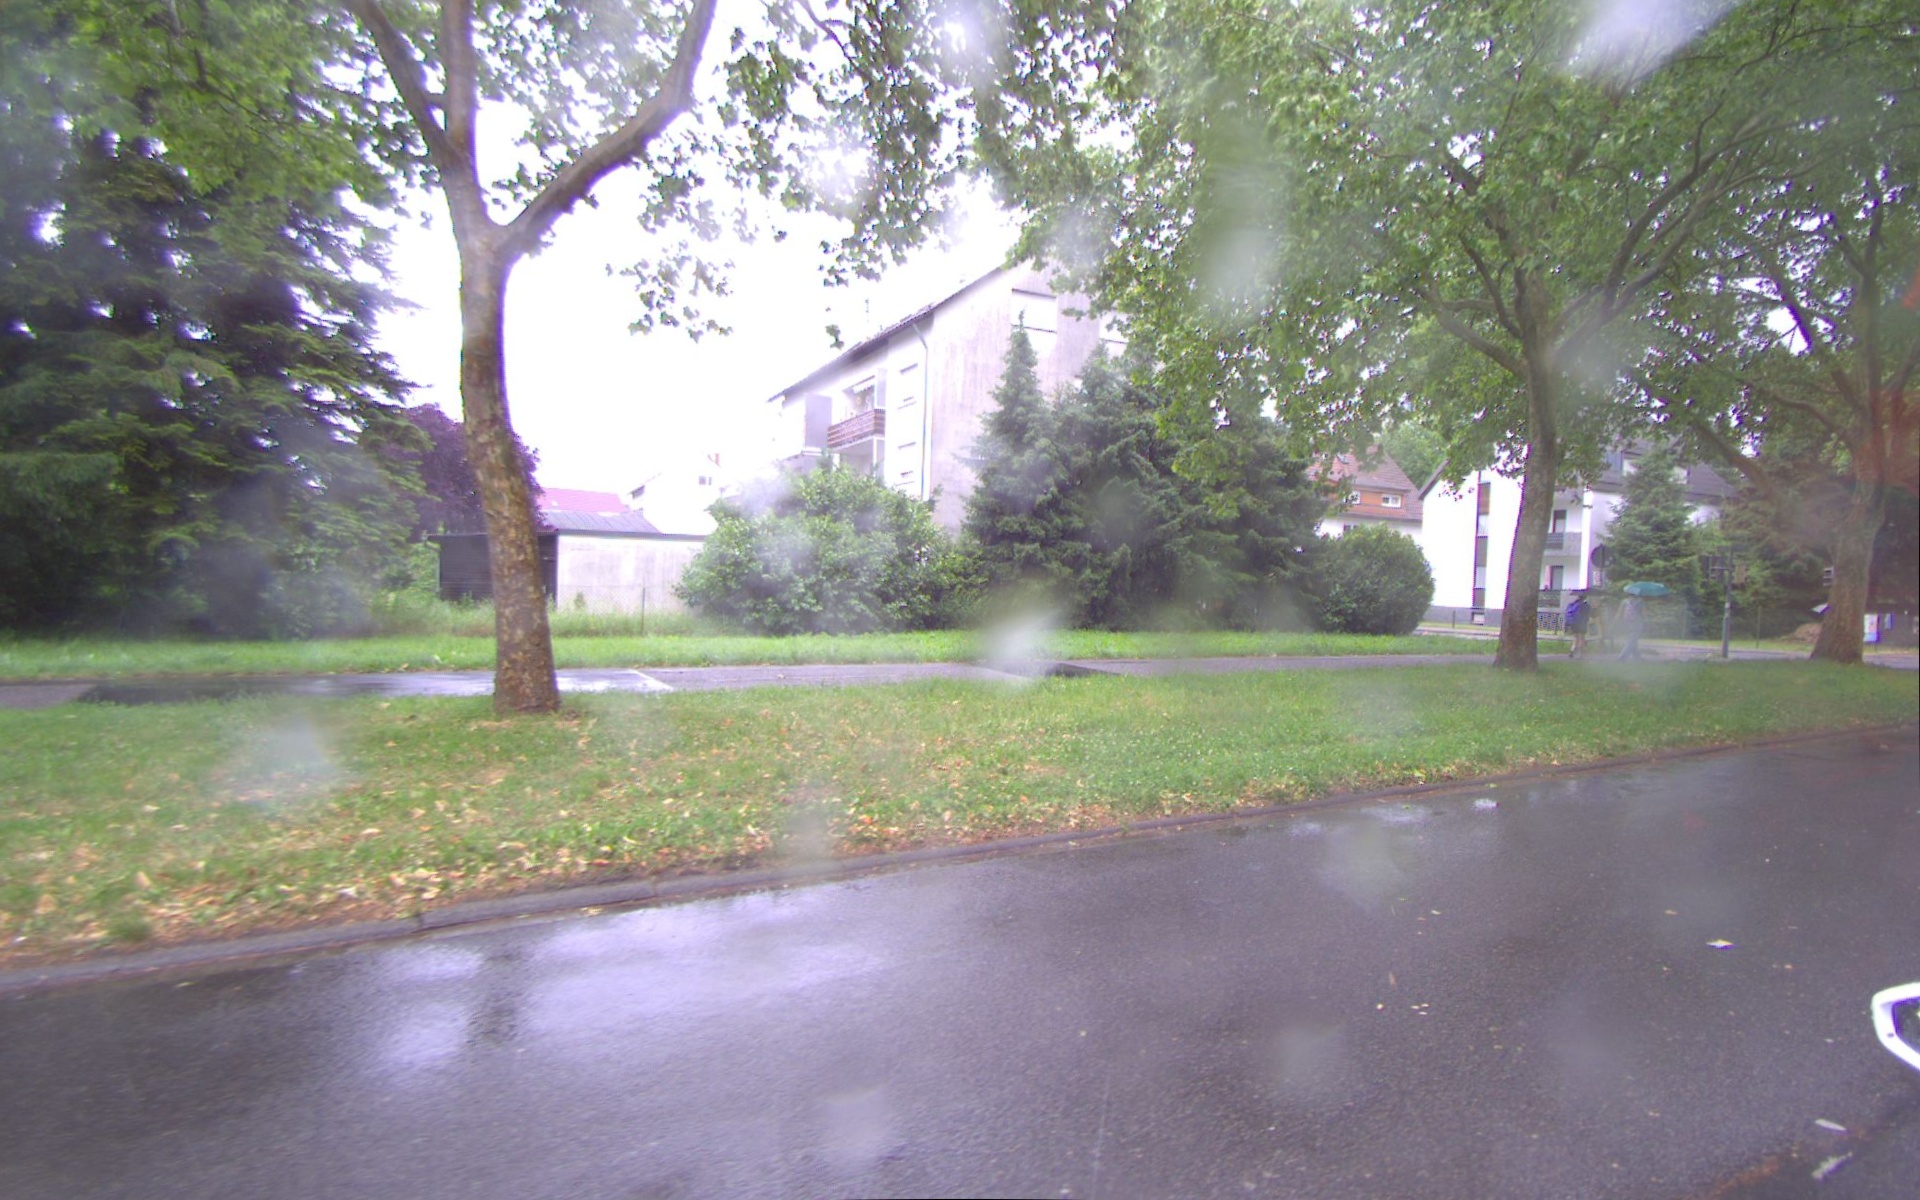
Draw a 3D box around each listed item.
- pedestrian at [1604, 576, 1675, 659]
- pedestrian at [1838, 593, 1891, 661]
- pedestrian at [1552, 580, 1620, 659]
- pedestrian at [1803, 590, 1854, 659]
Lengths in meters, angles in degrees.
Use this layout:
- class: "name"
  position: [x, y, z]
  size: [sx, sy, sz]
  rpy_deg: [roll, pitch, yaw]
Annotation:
- class: "pedestrian"
  position: [15.080, 0.384, 22.309]
  size: [0.828, 1.789, 1.028]
  rpy_deg: [1, 1, -30]
- class: "pedestrian"
  position: [24.005, 0.706, 26.676]
  size: [0.633, 1.768, 0.854]
  rpy_deg: [1, 2, -33]
- class: "pedestrian"
  position: [14.563, 0.433, 23.397]
  size: [0.869, 1.789, 1.028]
  rpy_deg: [1, 1, -30]
- class: "pedestrian"
  position: [22.792, 0.633, 26.370]
  size: [0.633, 1.768, 0.815]
  rpy_deg: [1, 2, -33]
